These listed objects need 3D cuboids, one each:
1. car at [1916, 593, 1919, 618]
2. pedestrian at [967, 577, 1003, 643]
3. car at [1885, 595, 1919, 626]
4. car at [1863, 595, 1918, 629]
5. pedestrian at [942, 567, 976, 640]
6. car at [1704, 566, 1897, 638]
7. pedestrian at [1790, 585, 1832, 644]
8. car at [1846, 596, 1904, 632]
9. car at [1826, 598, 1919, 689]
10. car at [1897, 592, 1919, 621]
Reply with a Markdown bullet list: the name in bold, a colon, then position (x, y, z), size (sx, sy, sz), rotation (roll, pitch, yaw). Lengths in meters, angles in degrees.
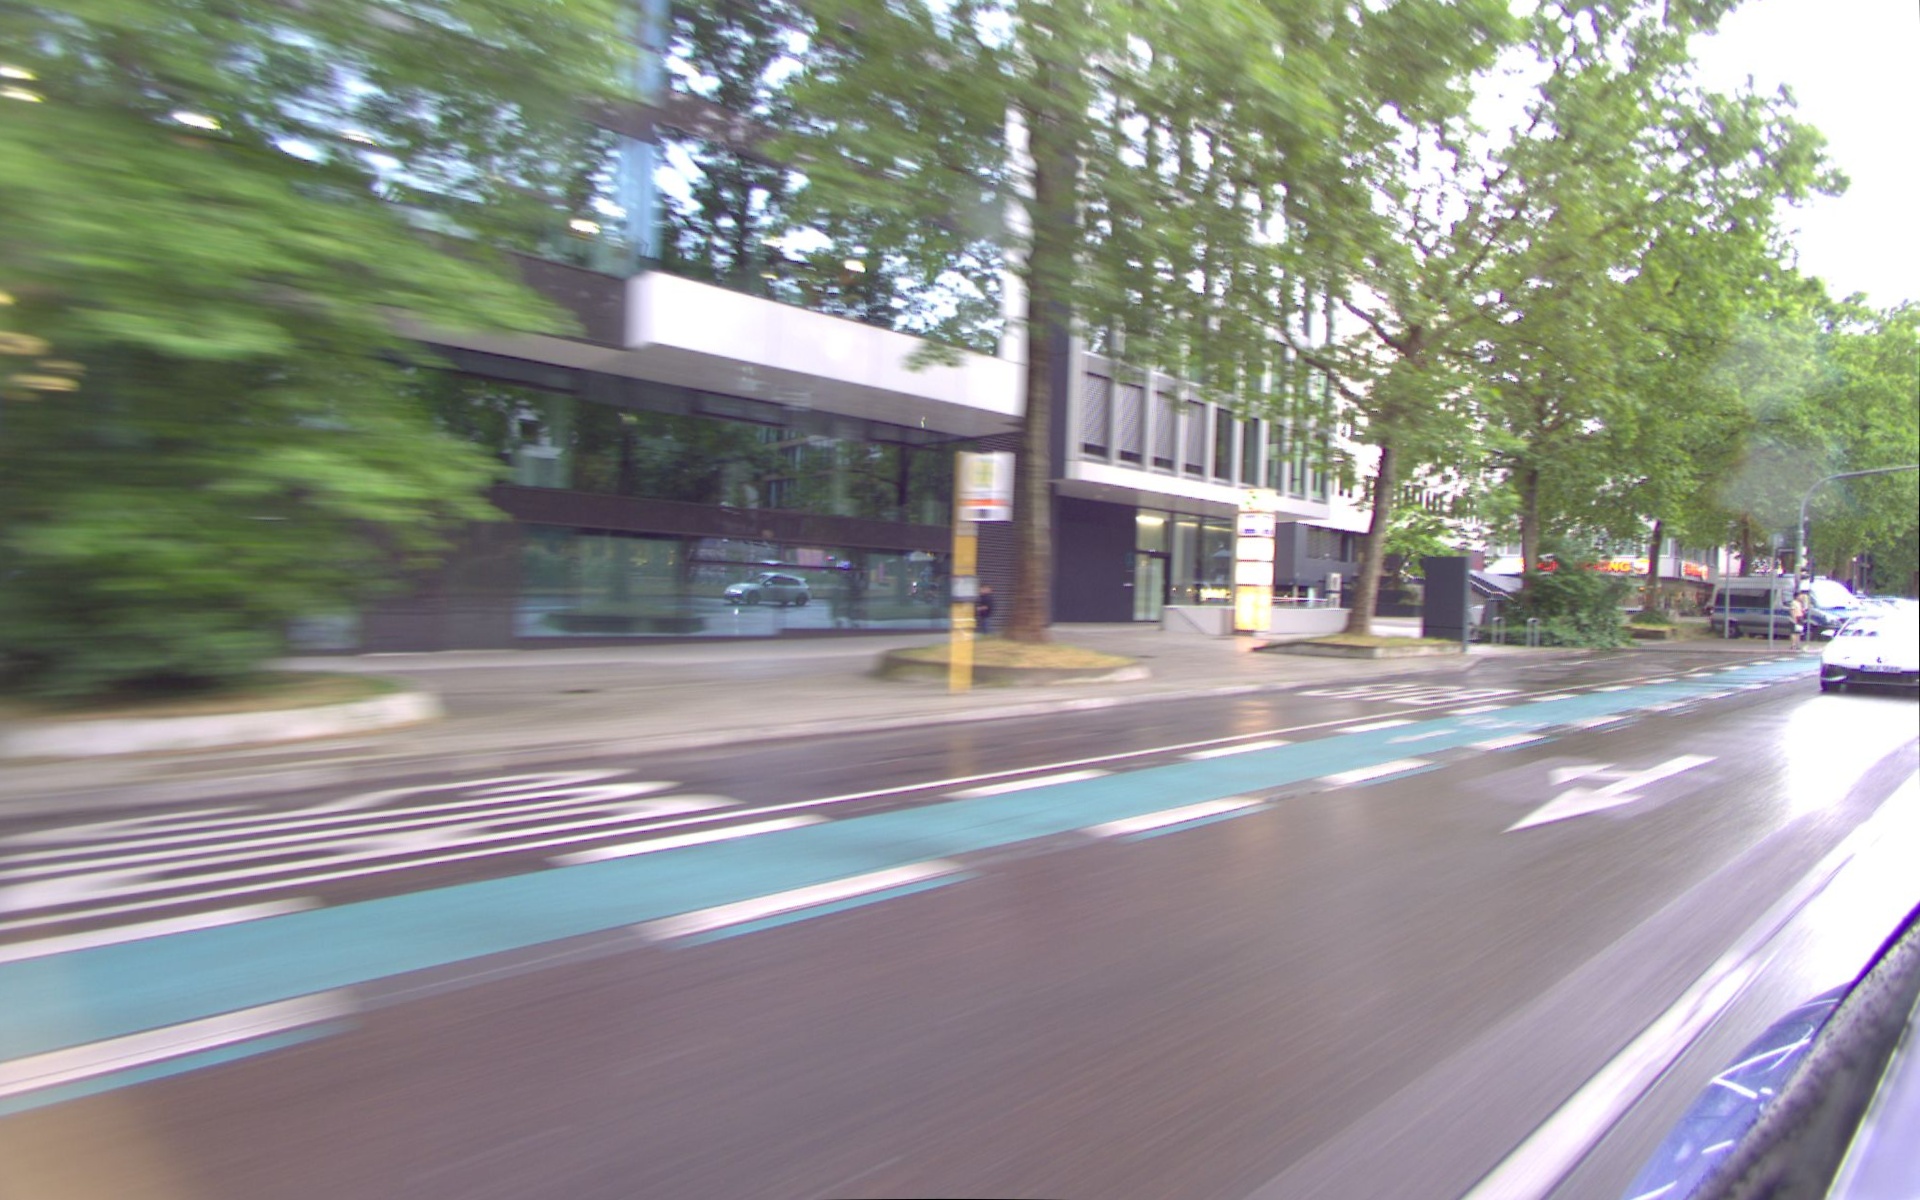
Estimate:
- **car**: position (59.402, 0.348, 61.481), size (3.366, 1.545, 1.597), rotation (0, 1, -41)
- **pedestrian**: position (0.636, 0.249, 25.857), size (0.707, 1.645, 0.527), rotation (-1, 4, -41)
- **car**: position (49.606, 0.530, 52.841), size (3.366, 1.534, 1.597), rotation (0, 1, -41)
- **car**: position (45.269, 0.571, 49.208), size (3.366, 1.545, 1.597), rotation (0, 1, -41)
- **pedestrian**: position (-0.017, 0.085, 26.569), size (0.692, 1.881, 0.523), rotation (-1, 4, -41)
- **car**: position (34.082, 0.014, 41.404), size (2.275, 2.713, 6.292), rotation (0, 1, -5)
- **pedestrian**: position (27.323, 0.448, 32.498), size (0.707, 1.872, 0.892), rotation (0, 0, -34)
- **car**: position (42.209, 0.626, 46.681), size (3.366, 1.545, 1.597), rotation (0, 1, -41)
- **car**: position (17.026, 0.711, 18.108), size (3.727, 1.490, 1.794), rotation (0, 0, -41)
- **car**: position (52.617, 0.347, 55.386), size (3.366, 1.545, 1.597), rotation (0, 1, -41)
